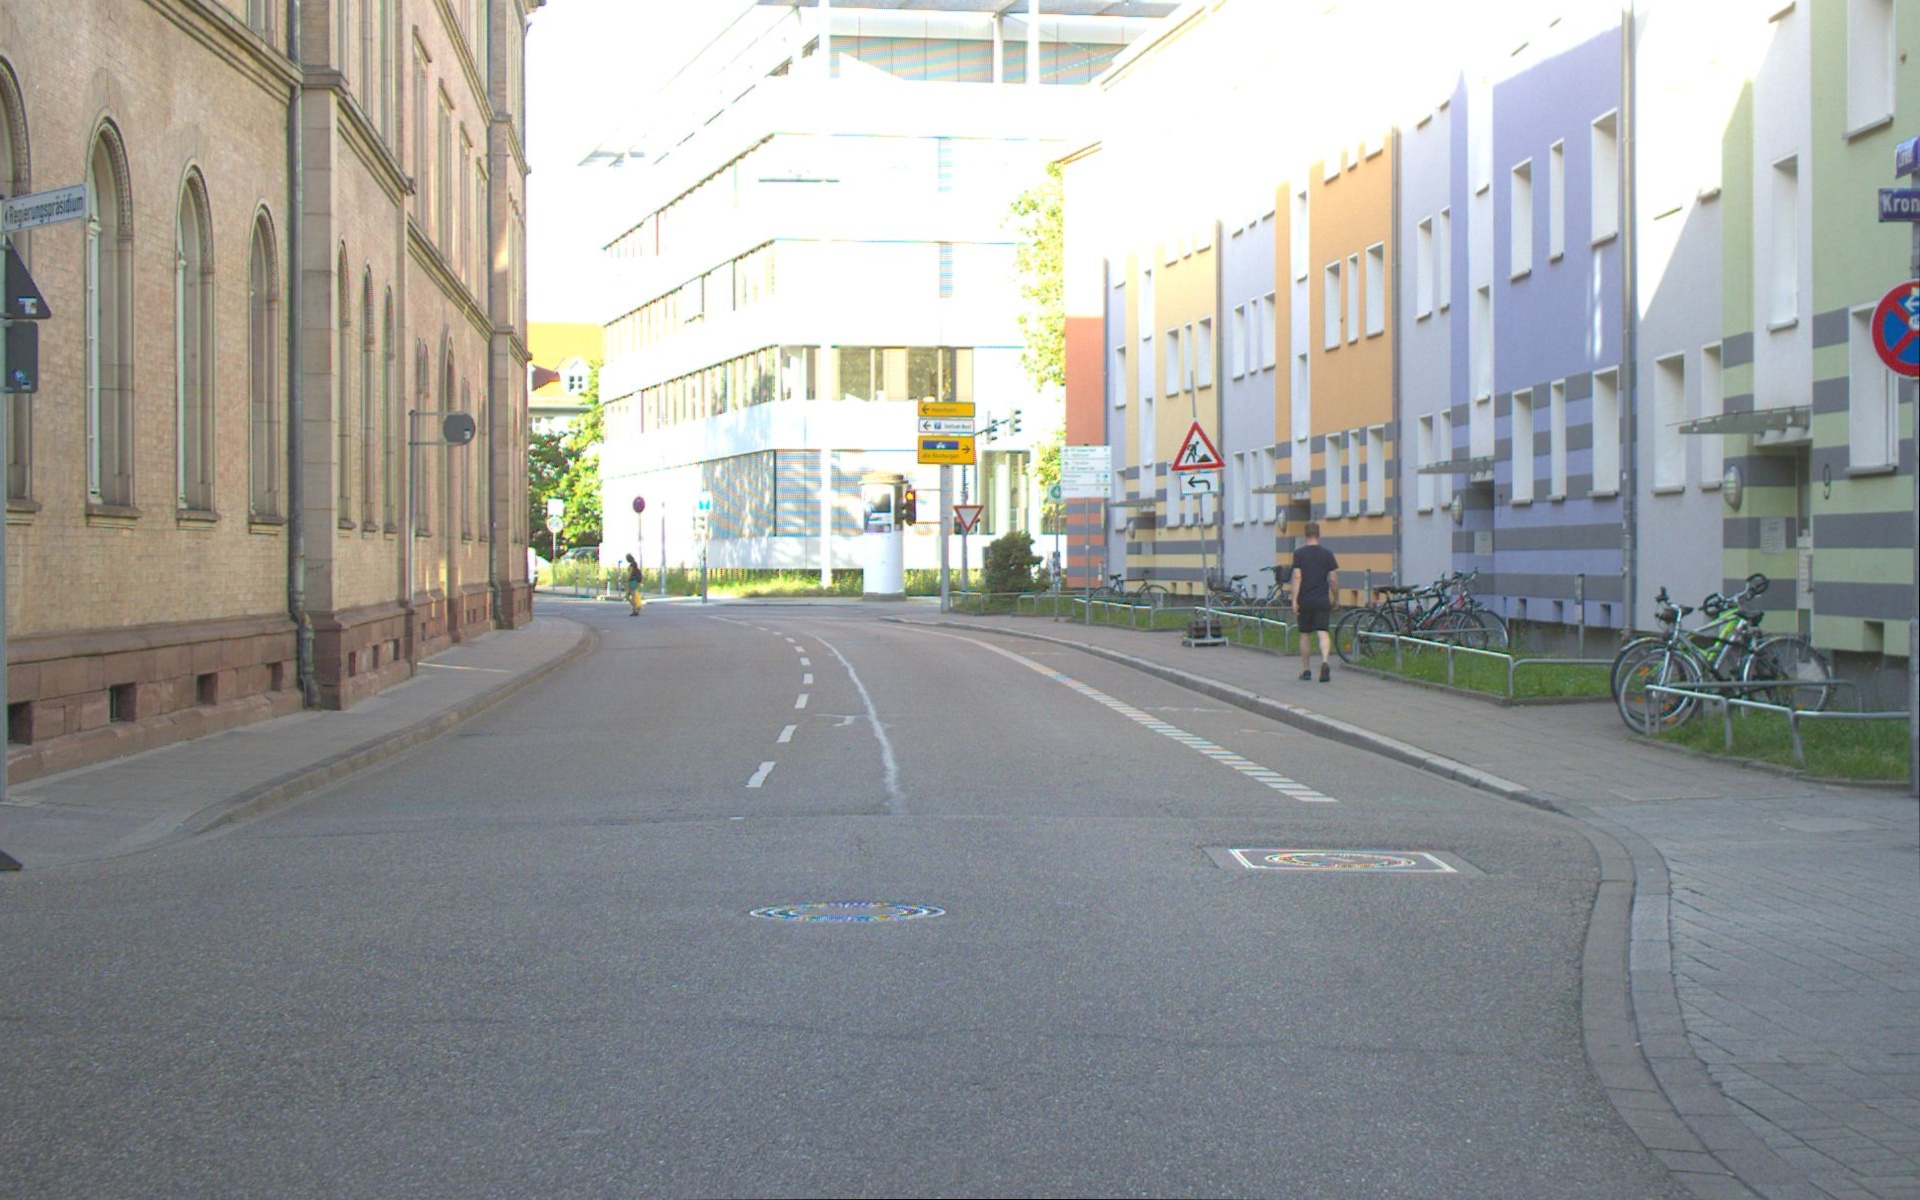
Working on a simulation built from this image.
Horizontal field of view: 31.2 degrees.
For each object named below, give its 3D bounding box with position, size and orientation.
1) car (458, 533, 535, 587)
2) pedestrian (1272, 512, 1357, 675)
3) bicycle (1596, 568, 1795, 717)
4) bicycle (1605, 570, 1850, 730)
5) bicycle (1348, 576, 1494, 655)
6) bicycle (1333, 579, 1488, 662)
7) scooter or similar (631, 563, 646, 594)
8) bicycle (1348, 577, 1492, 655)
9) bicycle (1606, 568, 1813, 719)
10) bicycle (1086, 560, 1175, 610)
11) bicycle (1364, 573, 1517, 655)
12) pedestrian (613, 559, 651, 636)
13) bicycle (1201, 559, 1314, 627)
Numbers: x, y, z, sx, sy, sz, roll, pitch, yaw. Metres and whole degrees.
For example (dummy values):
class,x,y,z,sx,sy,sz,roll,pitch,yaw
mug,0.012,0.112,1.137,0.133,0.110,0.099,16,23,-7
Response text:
class,x,y,z,sx,sy,sz,roll,pitch,yaw
car,-18.829,-1.615,139.593,2.423,2.105,5.233,2,0,-15
pedestrian,3.939,-0.083,38.284,0.696,1.754,1.189,-3,1,-2
bicycle,6.151,0.352,28.745,1.602,1.137,0.237,-3,1,-10
bicycle,6.031,0.388,27.056,1.748,1.137,0.552,-3,1,-2
bicycle,5.737,0.195,42.797,1.748,0.943,0.326,-1,0,-1
bicycle,5.361,0.238,40.975,1.748,0.943,0.552,-1,0,-2
scooter or similar,-11.333,-0.764,121.227,0.325,1.056,1.143,0,1,-14
bicycle,5.790,0.202,43.258,1.748,0.943,0.335,-1,0,-2
bicycle,6.208,0.353,28.475,1.640,1.137,0.283,-3,1,-10
bicycle,3.562,-0.309,71.837,1.753,1.000,0.613,-2,0,-7
bicycle,5.817,0.167,41.651,1.748,0.943,0.552,-1,0,-2
pedestrian,-8.598,-0.075,90.153,0.895,2.007,0.753,-1,0,-10
bicycle,4.988,-0.119,57.668,1.810,1.133,0.552,0,0,-4
